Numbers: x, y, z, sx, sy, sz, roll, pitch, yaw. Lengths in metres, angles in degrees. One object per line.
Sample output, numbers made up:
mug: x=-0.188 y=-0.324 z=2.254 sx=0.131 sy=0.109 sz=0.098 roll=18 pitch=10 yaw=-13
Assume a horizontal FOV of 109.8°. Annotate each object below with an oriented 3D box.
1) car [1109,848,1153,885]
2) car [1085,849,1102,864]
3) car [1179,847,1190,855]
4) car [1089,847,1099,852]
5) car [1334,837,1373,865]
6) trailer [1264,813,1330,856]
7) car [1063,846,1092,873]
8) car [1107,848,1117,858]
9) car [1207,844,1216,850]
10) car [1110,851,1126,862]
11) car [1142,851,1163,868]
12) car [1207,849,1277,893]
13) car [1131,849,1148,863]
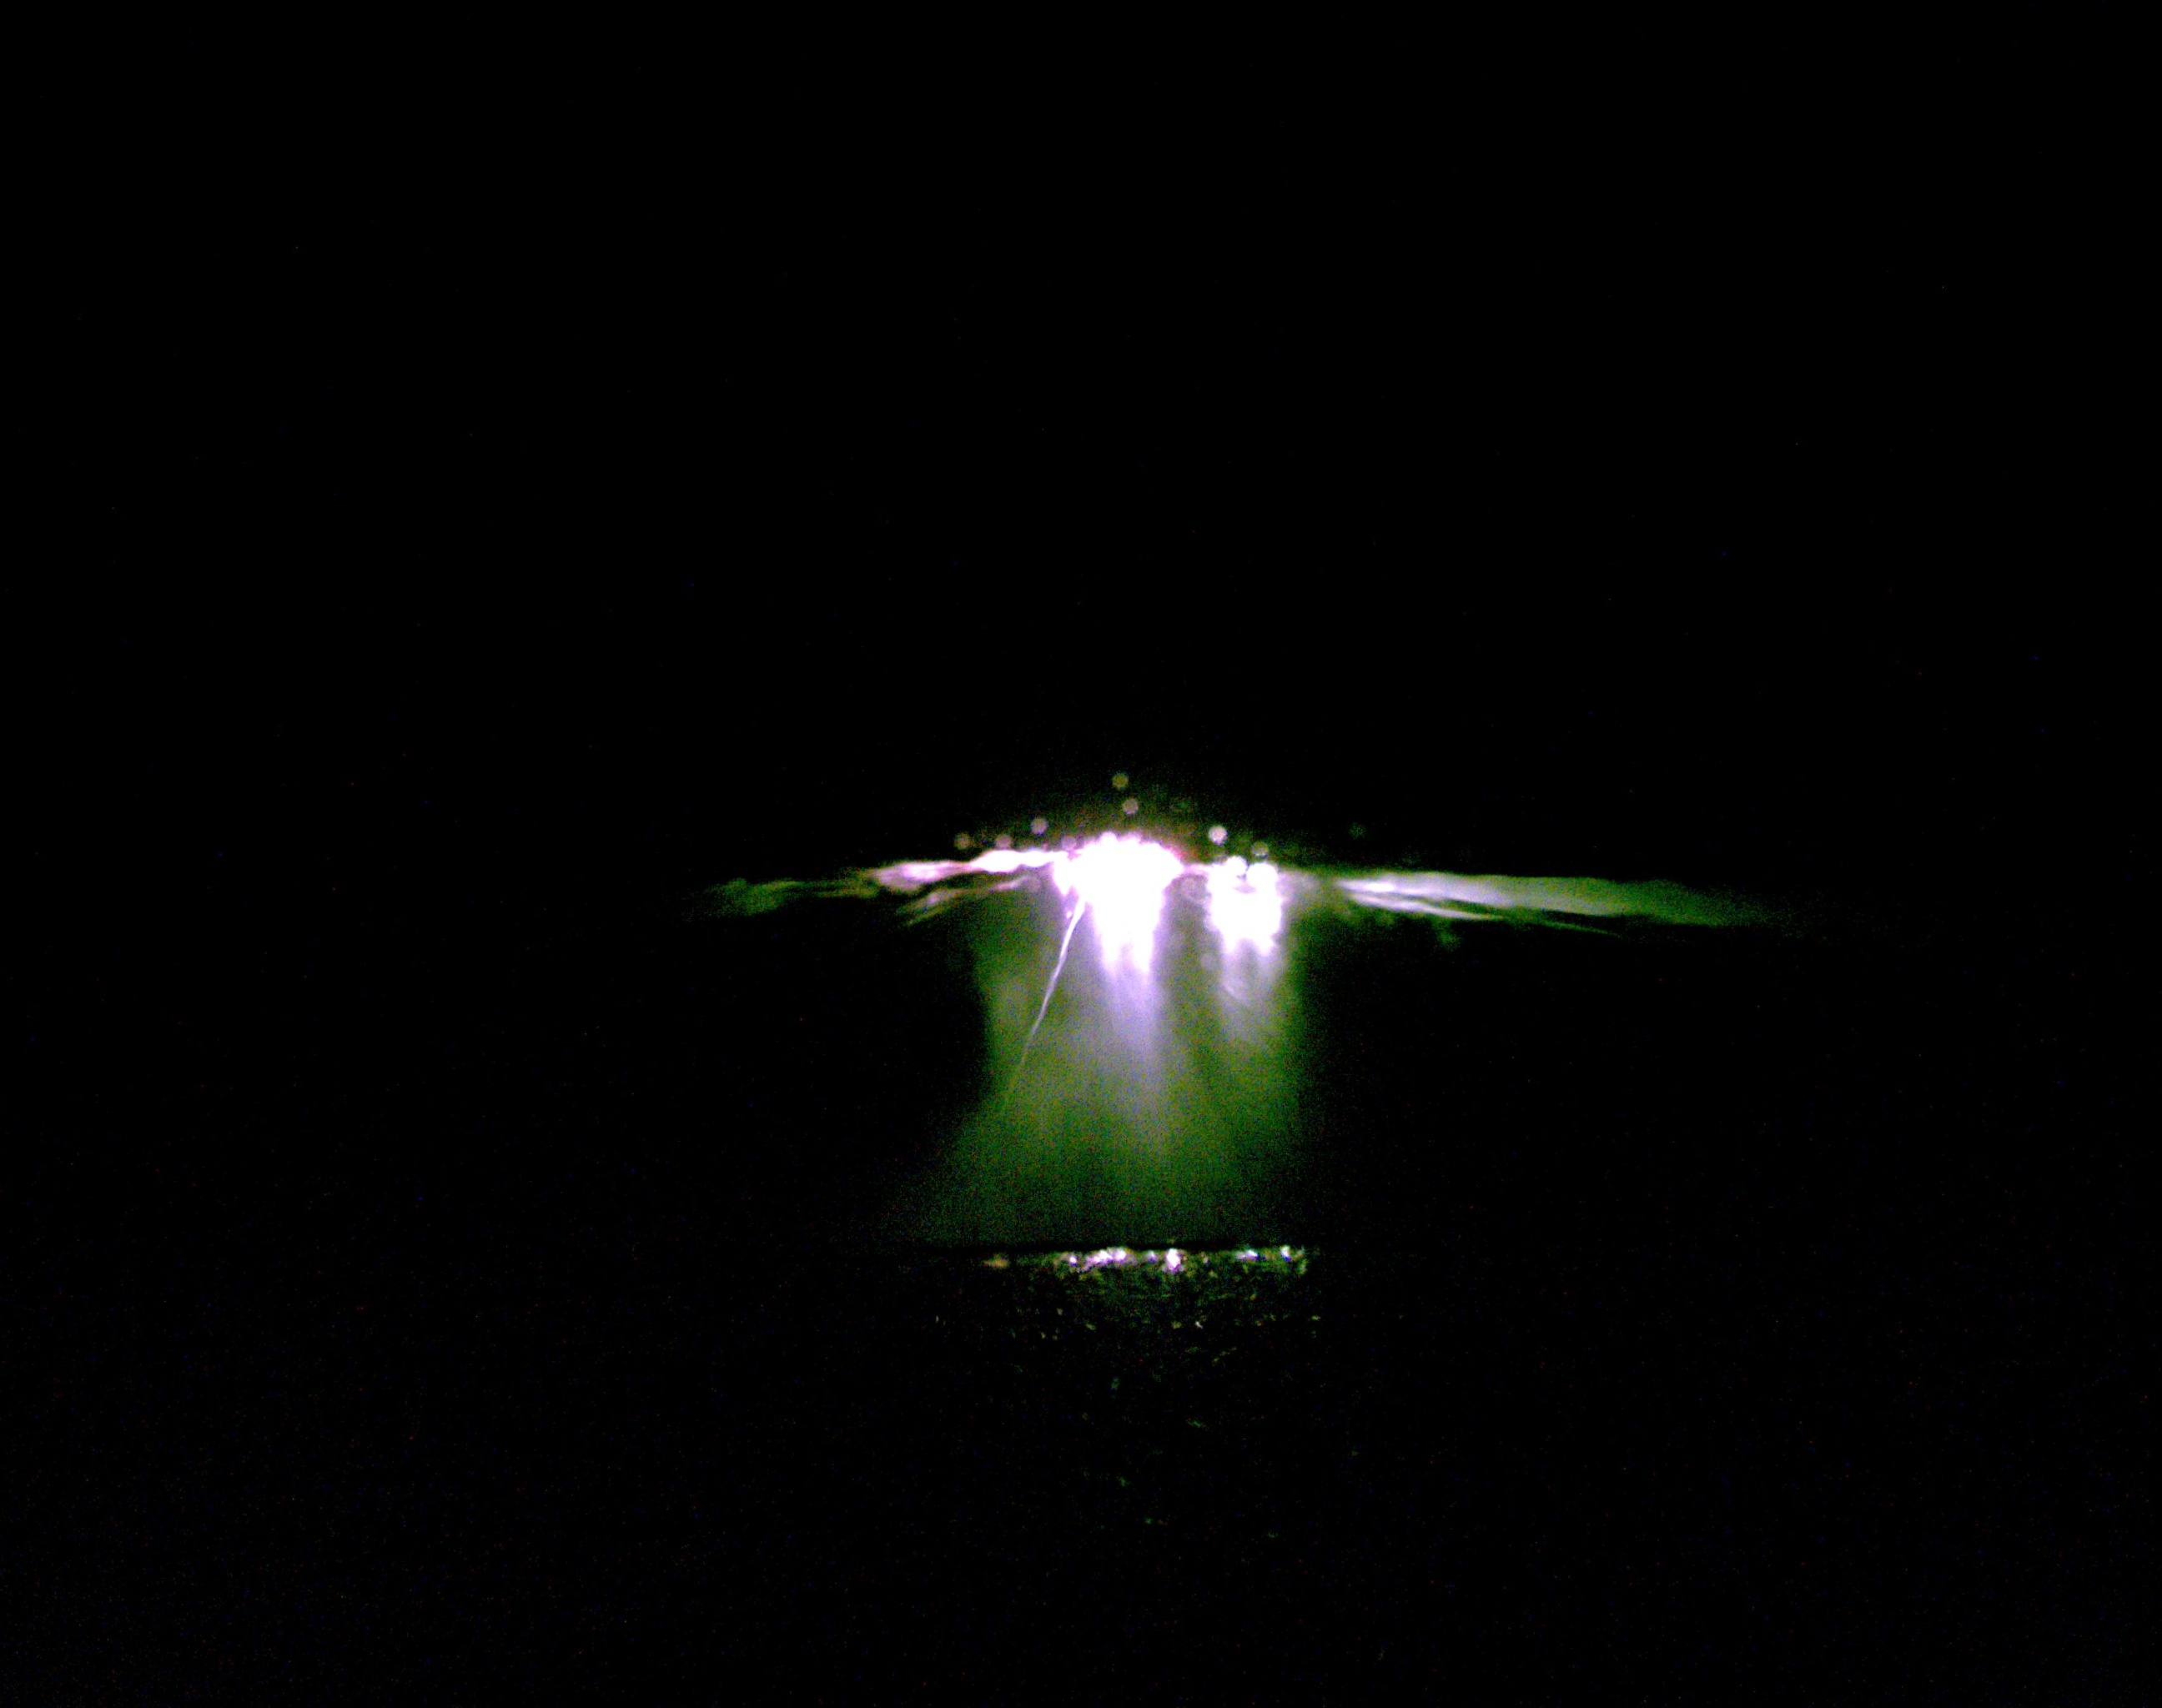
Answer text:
car: x=2.548 y=0.592 z=37.803 sx=1.997 sy=1.667 sz=4.001 roll=1 pitch=1 yaw=6
car: x=1.668 y=0.301 z=98.580 sx=1.998 sy=1.745 sz=4.000 roll=-1 pitch=1 yaw=3
car: x=23.016 y=-0.654 z=168.751 sx=1.838 sy=1.652 sz=3.999 roll=-1 pitch=1 yaw=0
car: x=2.866 y=-0.957 z=166.002 sx=1.998 sy=1.150 sz=4.000 roll=1 pitch=1 yaw=4
car: x=21.832 y=-0.282 z=61.058 sx=1.797 sy=2.116 sz=3.950 roll=-1 pitch=1 yaw=1
trailer: x=24.849 y=-2.201 z=88.589 sx=4.177 sy=4.598 sz=13.956 roll=1 pitch=1 yaw=2
car: x=-0.269 y=0.382 z=60.171 sx=1.998 sy=2.002 sz=4.000 roll=1 pitch=1 yaw=4
car: x=5.958 y=-0.187 z=146.324 sx=1.998 sy=1.745 sz=4.000 roll=-1 pitch=1 yaw=3
car: x=31.674 y=-1.724 z=184.300 sx=1.712 sy=1.456 sz=3.999 roll=-3 pitch=1 yaw=2
car: x=4.065 y=0.240 z=83.776 sx=1.692 sy=1.150 sz=3.420 roll=1 pitch=1 yaw=3
car: x=7.495 y=0.575 z=79.970 sx=1.998 sy=1.667 sz=4.000 roll=1 pitch=1 yaw=3
car: x=6.494 y=0.645 z=31.082 sx=2.309 sy=1.600 sz=3.872 roll=1 pitch=1 yaw=5
car: x=7.714 y=0.265 z=100.407 sx=1.998 sy=1.745 sz=3.999 roll=-1 pitch=1 yaw=1
